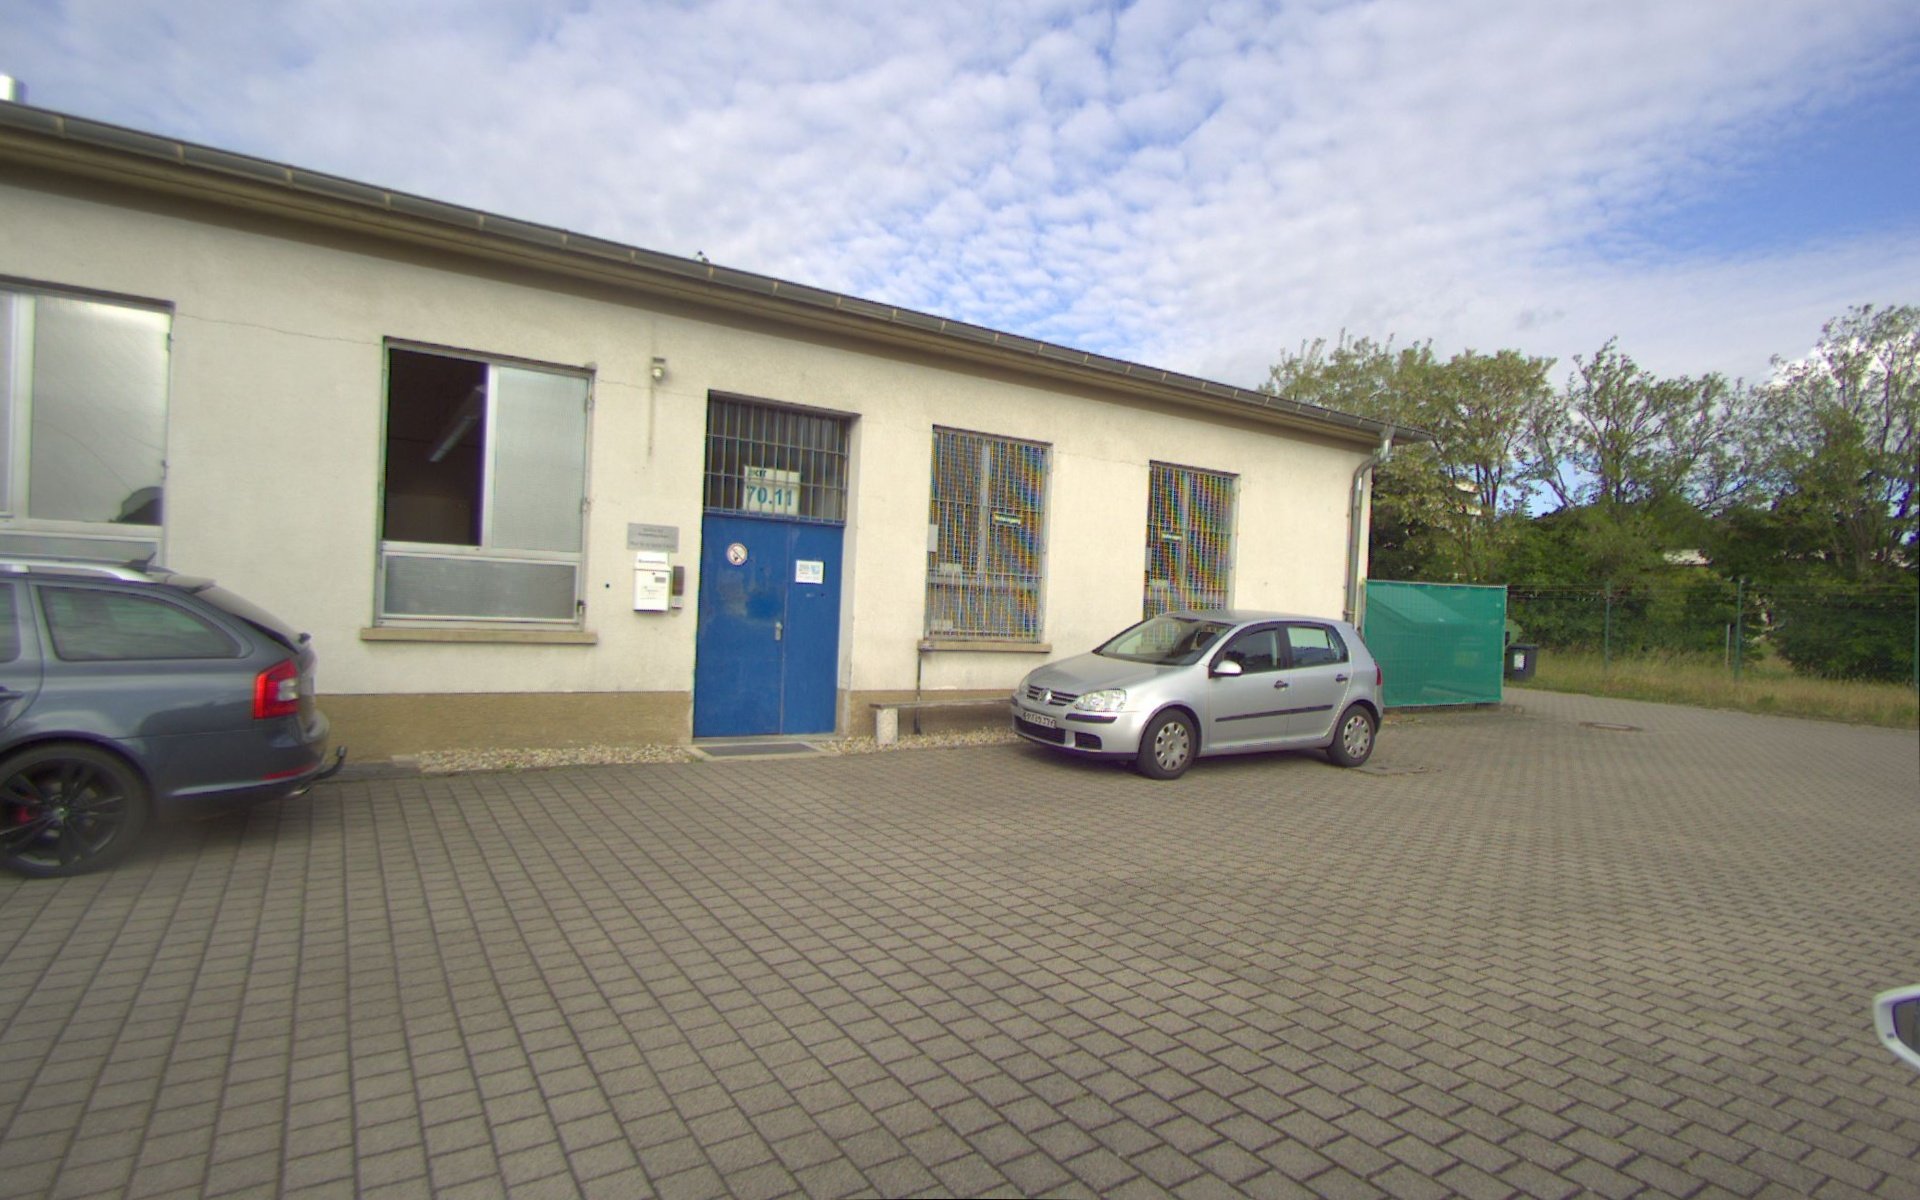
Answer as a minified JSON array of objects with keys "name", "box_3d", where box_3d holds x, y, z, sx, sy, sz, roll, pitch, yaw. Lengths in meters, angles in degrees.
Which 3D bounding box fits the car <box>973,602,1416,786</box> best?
[{"name":"car","box_3d":[2.459,0.829,10.121,4.323,1.458,1.912,2,0,-34]}]

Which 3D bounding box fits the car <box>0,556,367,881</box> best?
[{"name":"car","box_3d":[-5.682,0.496,4.827,4.761,1.480,1.912,2,0,-34]}]

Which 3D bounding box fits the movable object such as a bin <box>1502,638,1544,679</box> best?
[{"name":"movable object such as a bin","box_3d":[12.527,1.302,22.355,0.593,0.877,0.582,2,-1,-24]}]

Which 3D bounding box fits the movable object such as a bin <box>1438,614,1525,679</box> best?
[{"name":"movable object such as a bin","box_3d":[12.007,1.062,23.163,1.116,1.414,1.348,2,-1,-24]}]
